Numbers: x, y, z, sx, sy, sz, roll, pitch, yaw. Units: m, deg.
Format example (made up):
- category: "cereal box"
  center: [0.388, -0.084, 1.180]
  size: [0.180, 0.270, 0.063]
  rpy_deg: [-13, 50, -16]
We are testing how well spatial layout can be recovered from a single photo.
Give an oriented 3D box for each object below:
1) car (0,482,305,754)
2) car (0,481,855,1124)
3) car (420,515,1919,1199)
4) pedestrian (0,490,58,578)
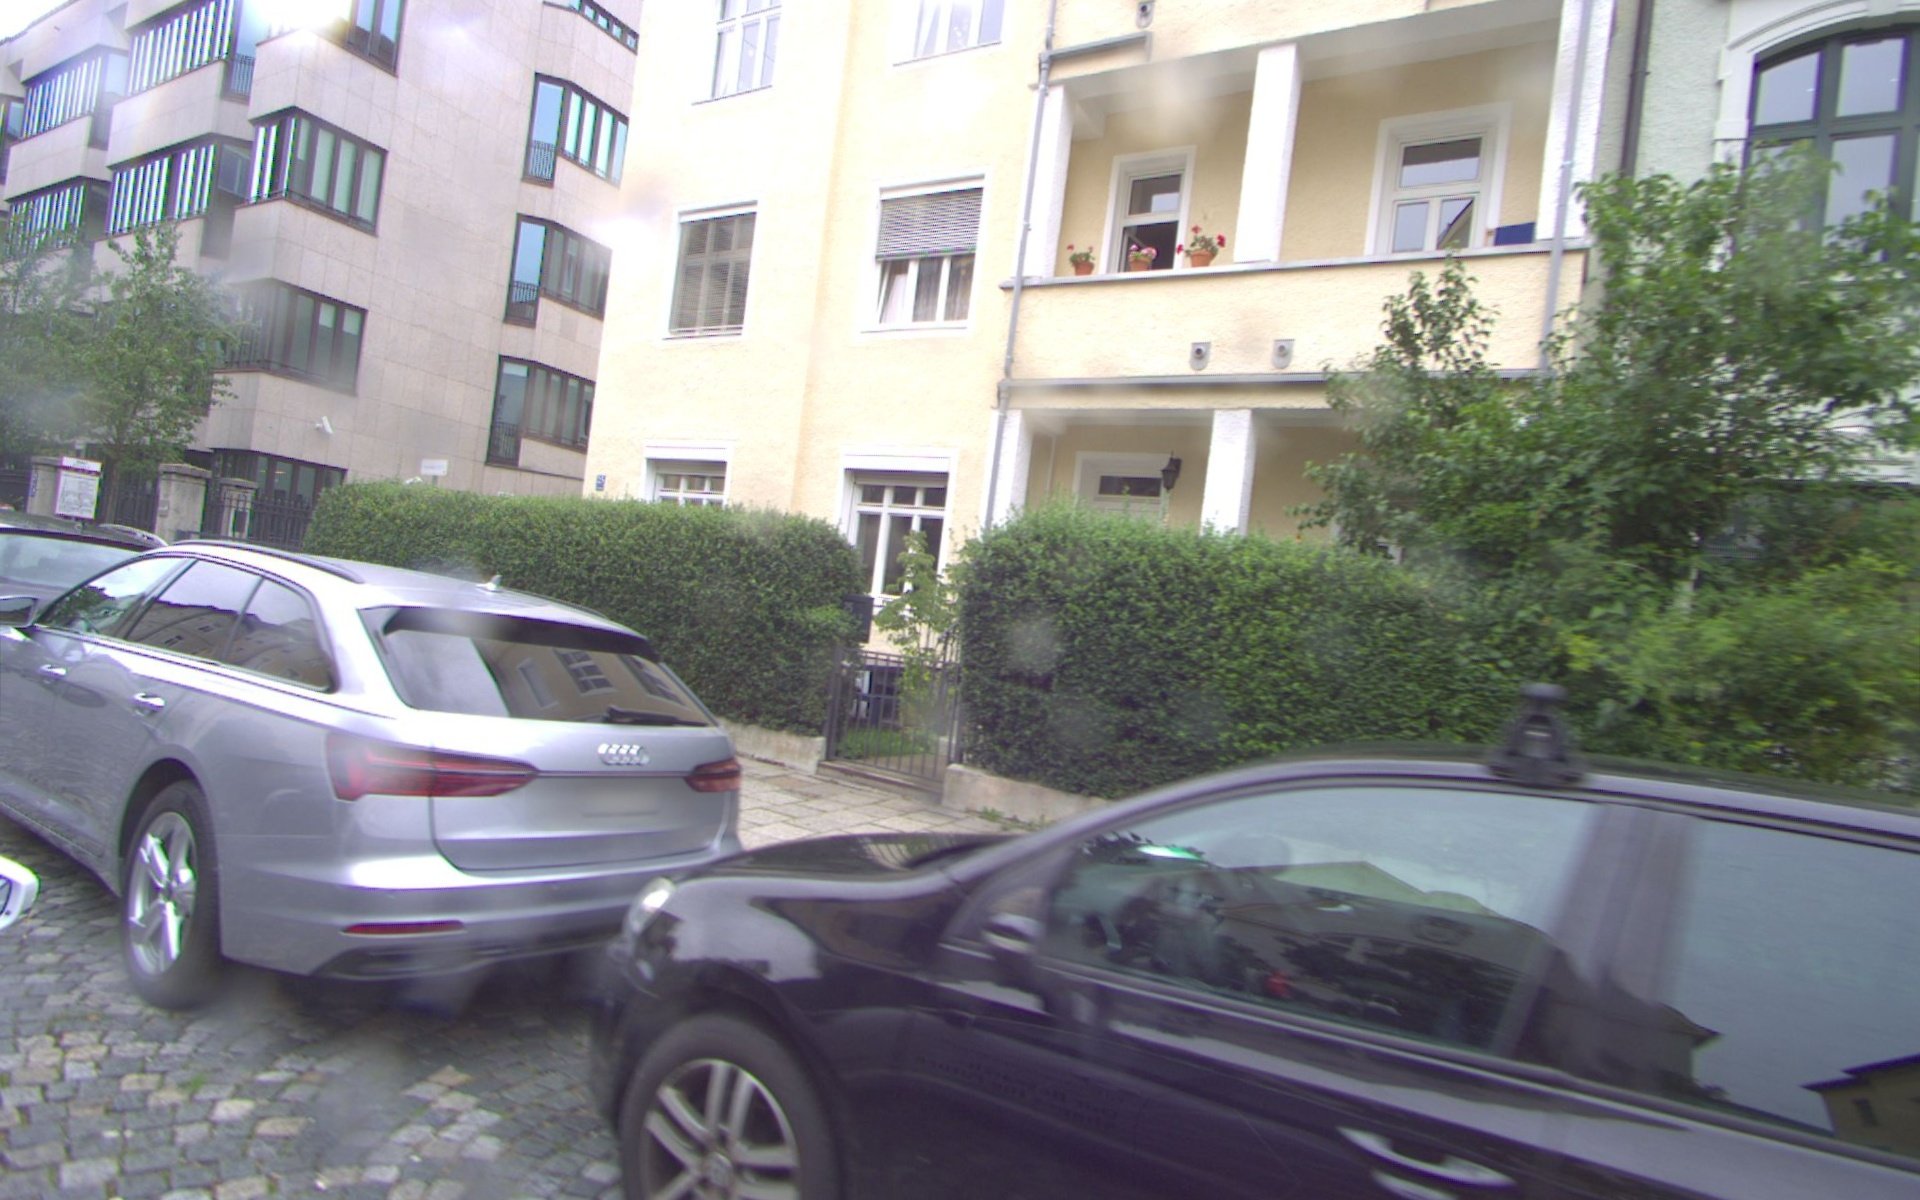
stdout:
- category: "car"
  center: [-7.390, -0.064, 7.602]
  size: [4.931, 1.568, 1.999]
  rpy_deg: [7, -4, 31]
- category: "car"
  center: [-3.132, 0.459, 4.781]
  size: [4.904, 1.569, 1.998]
  rpy_deg: [7, -3, 32]
- category: "car"
  center: [1.013, 0.931, 2.286]
  size: [4.222, 1.672, 1.899]
  rpy_deg: [7, -3, 31]
- category: "pedestrian"
  center: [-17.628, -1.255, 18.517]
  size: [1.111, 1.512, 1.217]
  rpy_deg: [7, 2, 33]
